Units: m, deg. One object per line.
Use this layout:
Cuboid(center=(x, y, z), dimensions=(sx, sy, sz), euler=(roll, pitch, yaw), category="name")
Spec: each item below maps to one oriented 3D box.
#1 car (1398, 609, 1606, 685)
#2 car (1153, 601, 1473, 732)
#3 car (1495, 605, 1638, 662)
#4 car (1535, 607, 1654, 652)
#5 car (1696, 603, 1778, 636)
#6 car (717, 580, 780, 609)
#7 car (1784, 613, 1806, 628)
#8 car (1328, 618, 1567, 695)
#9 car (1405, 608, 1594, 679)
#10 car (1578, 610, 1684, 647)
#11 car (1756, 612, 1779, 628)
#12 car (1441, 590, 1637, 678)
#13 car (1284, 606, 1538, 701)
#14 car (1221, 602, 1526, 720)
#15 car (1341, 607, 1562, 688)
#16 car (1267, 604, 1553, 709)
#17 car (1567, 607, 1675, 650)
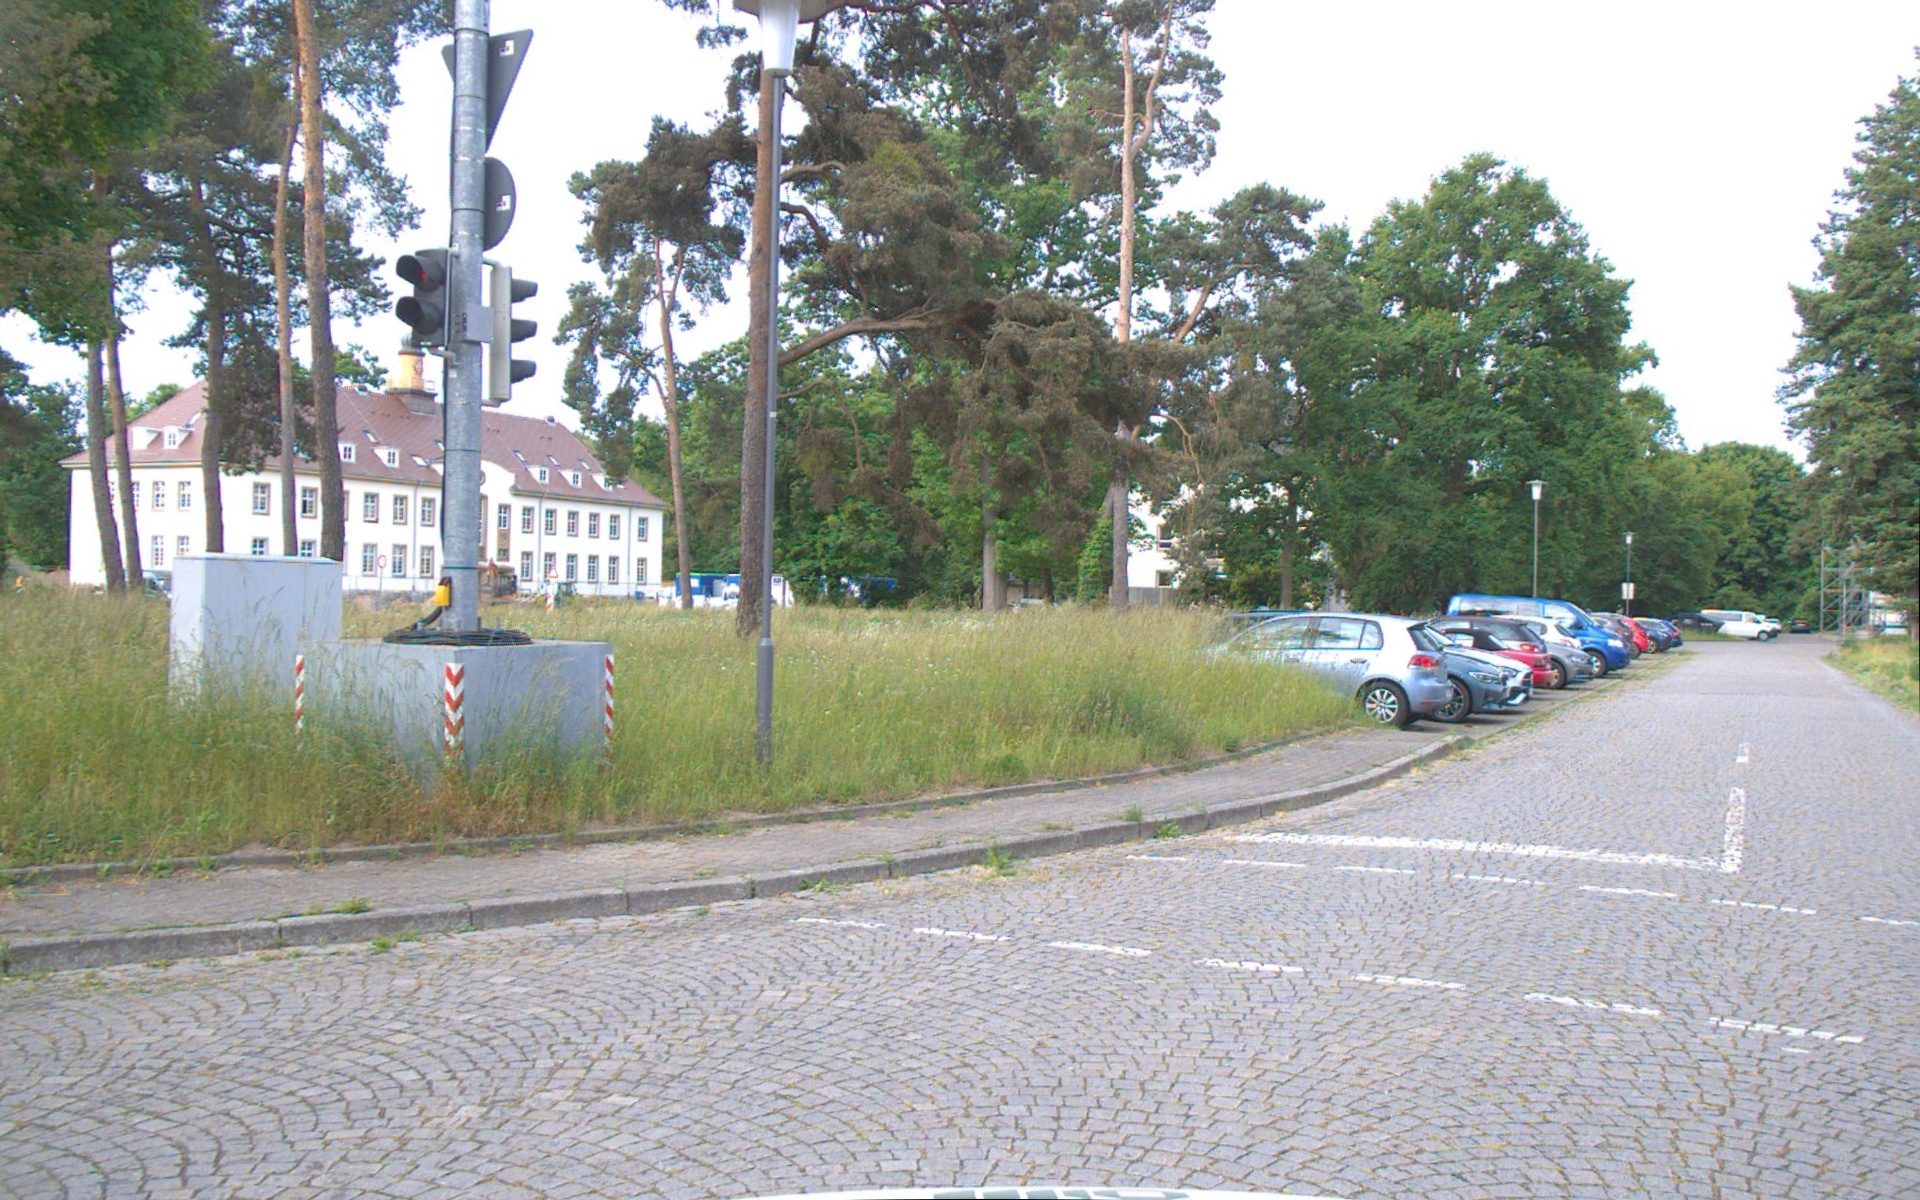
Cuboid(center=(11.915, 0.987, 36.368), dimensions=(4.086, 1.517, 1.862), euler=(1, 0, 28), category="car")
Cuboid(center=(4.780, 0.833, 22.394), dimensions=(3.908, 1.570, 1.904), euler=(1, 0, 25), category="car")
Cuboid(center=(19.020, 1.011, 51.845), dimensions=(4.082, 1.650, 1.986), euler=(1, 0, 24), category="car")
Cuboid(center=(23.469, 1.063, 61.205), dimensions=(3.974, 1.552, 1.903), euler=(1, 0, 25), category="car")
Cuboid(center=(54.793, 1.356, 116.771), dimensions=(5.130, 2.206, 1.999), euler=(1, 0, 24), category="car")
Cuboid(center=(-15.633, -0.382, 122.489), dimensions=(1.956, 2.049, 5.222), euler=(1, -1, 29), category="car")
Cuboid(center=(87.932, 2.164, 174.213), dimensions=(1.912, 1.548, 3.997), euler=(1, 0, 25), category="car")
Cuboid(center=(9.268, 1.035, 31.479), dimensions=(4.086, 1.289, 1.829), euler=(1, 0, 28), category="car")
Cuboid(center=(12.762, 1.001, 39.142), dimensions=(3.989, 1.523, 1.843), euler=(1, 0, 27), category="car")
Cuboid(center=(30.243, 1.263, 74.536), dimensions=(4.221, 1.486, 1.972), euler=(2, 1, 28), category="car")
Cuboid(center=(85.460, 2.128, 175.131), dimensions=(2.077, 1.548, 3.997), euler=(1, 0, 25), category="car")
Cuboid(center=(15.327, 0.847, 43.772), dimensions=(4.688, 2.159, 2.113), euler=(1, 0, 26), category="car")
Cuboid(center=(8.030, 0.902, 29.450), dimensions=(4.084, 1.502, 1.863), euler=(1, 0, 26), category="car")
Cuboid(center=(6.193, 0.853, 24.736), dimensions=(4.164, 1.575, 1.935), euler=(1, 0, 23), category="car")
Cuboid(center=(10.101, 0.936, 34.031), dimensions=(4.086, 1.508, 1.843), euler=(1, 0, 27), category="car")
Cuboid(center=(7.397, 0.881, 27.200), dimensions=(4.287, 1.534, 1.934), euler=(1, 0, 24), category="car")
Cuboid(center=(28.111, 1.178, 70.345), dimensions=(4.145, 1.604, 1.886), euler=(2, 1, 25), category="car")
